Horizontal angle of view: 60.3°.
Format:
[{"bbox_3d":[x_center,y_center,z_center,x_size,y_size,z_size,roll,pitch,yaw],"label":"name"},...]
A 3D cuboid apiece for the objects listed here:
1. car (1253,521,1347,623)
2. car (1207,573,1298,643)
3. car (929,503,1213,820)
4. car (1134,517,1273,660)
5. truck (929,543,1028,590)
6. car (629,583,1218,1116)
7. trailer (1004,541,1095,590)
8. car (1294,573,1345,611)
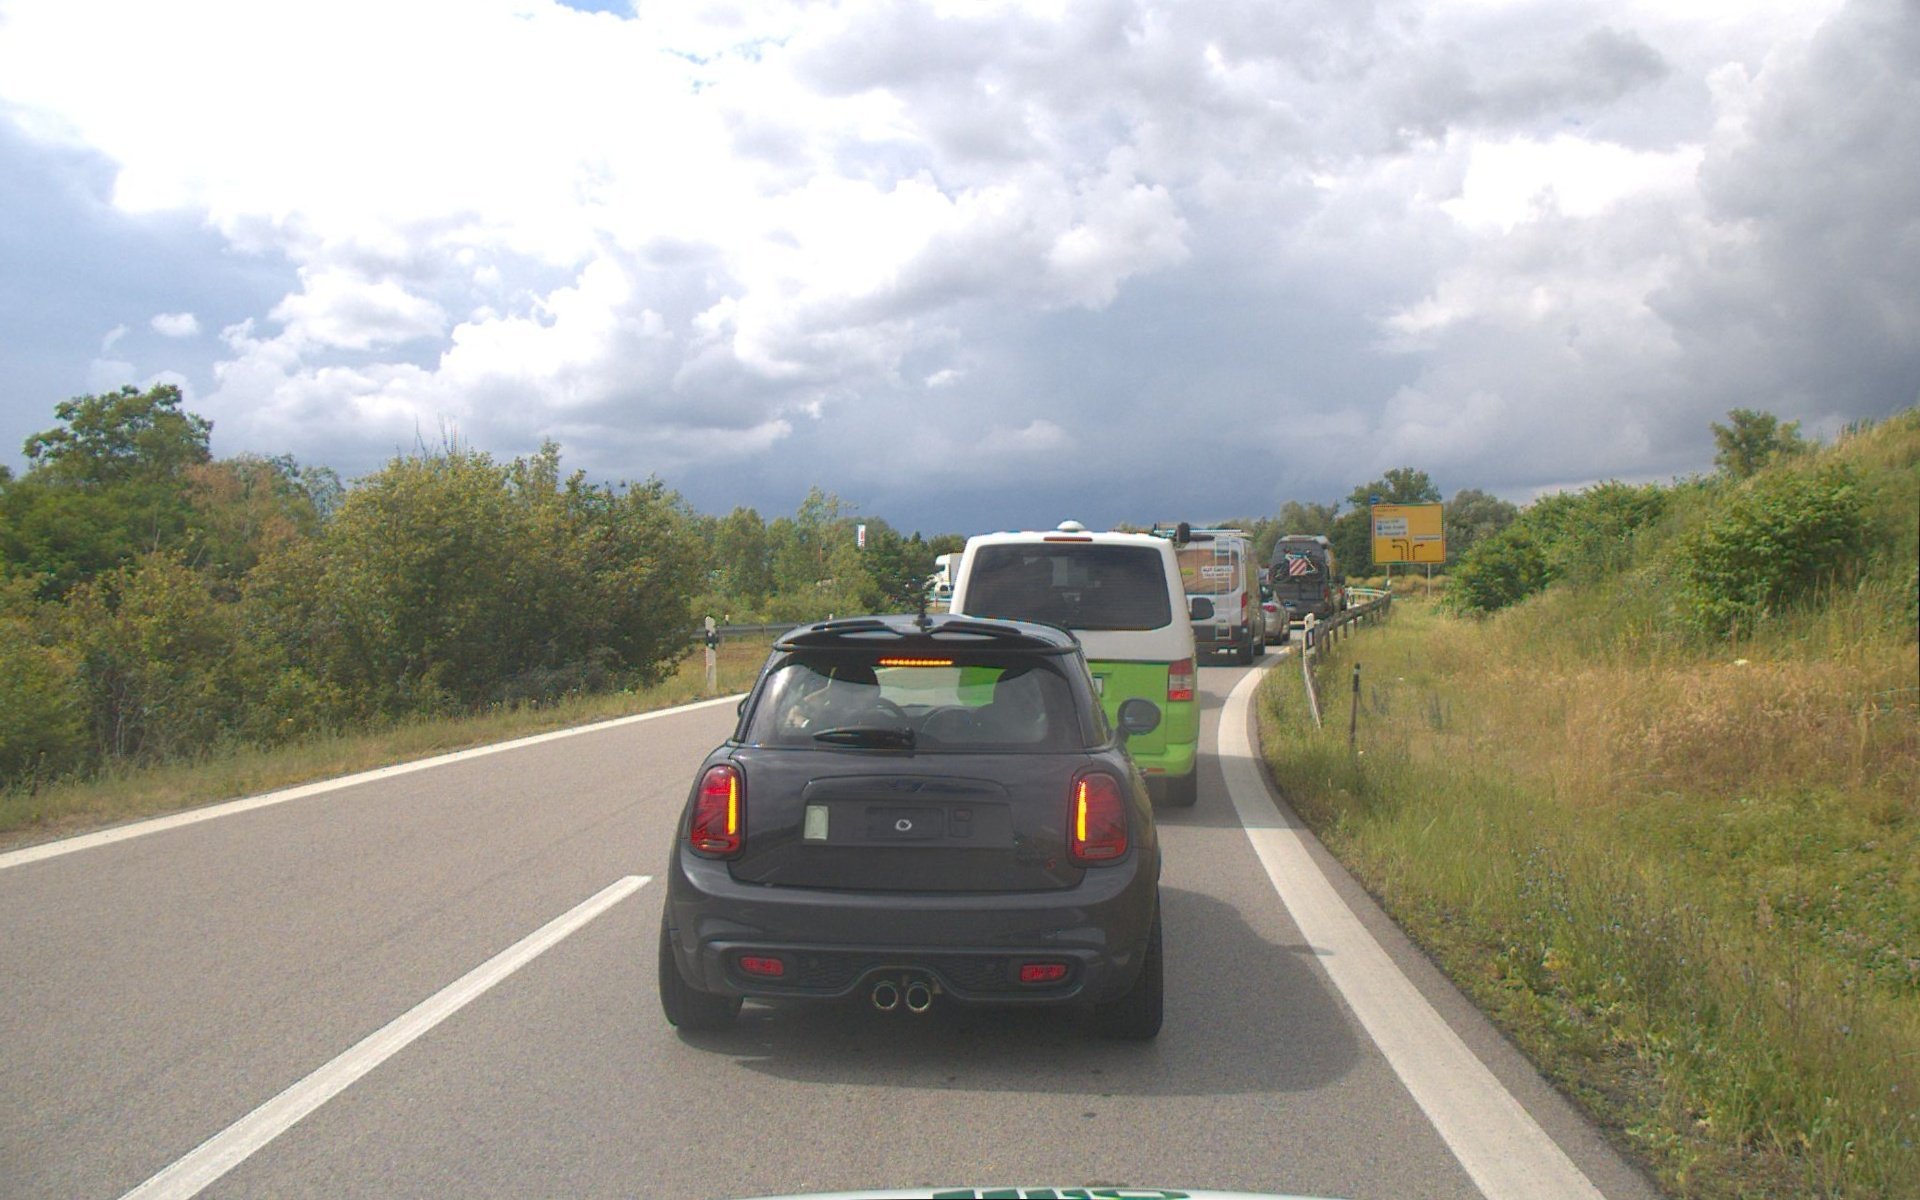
[{"bbox_3d":[11.227,-0.837,54.238,2.262,3.122,6.665,1,0,18],"label":"car"},{"bbox_3d":[7.543,0.202,42.431,1.951,1.671,3.931,1,0,15],"label":"car"},{"bbox_3d":[1.006,0.395,13.038,1.870,2.081,4.184,0,0,8],"label":"car"},{"bbox_3d":[5.088,-0.204,33.869,2.165,2.668,5.538,1,0,15],"label":"car"},{"bbox_3d":[1.550,-2.923,146.850,2.822,4.045,9.872,1,0,-43],"label":"truck"},{"bbox_3d":[-0.011,0.730,6.837,1.762,1.573,3.740,0,0,3],"label":"car"},{"bbox_3d":[7.512,-2.825,139.577,3.010,3.966,8.666,1,0,-35],"label":"trailer"},{"bbox_3d":[16.457,-0.339,75.529,1.853,1.616,4.497,1,0,18],"label":"car"}]
